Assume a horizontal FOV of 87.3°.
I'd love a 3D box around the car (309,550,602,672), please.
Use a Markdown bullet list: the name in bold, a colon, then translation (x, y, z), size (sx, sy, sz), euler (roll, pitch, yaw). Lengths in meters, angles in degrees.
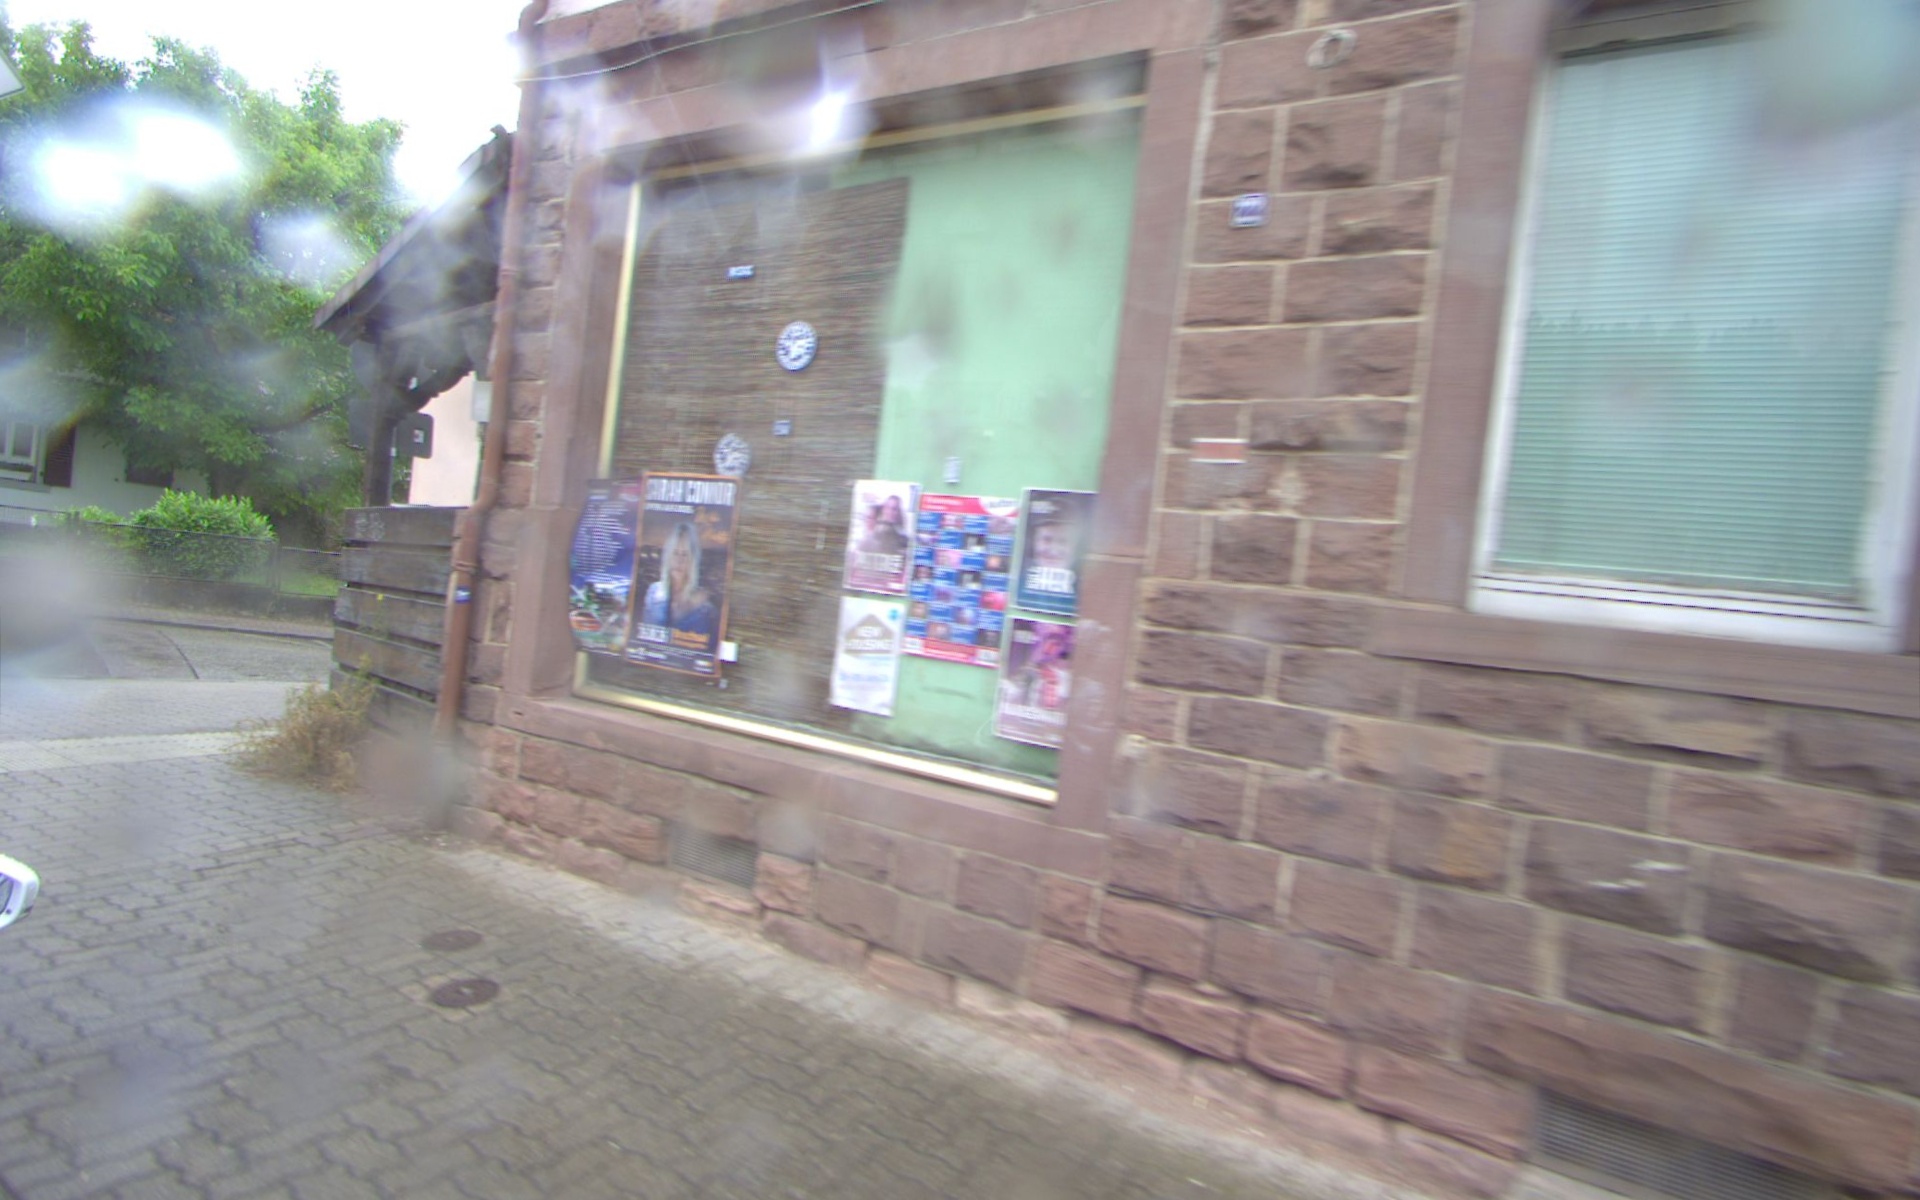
- **car**: translation (-8.448, 0.232, 17.060), size (3.979, 1.483, 1.762), euler (10, -4, -44)
